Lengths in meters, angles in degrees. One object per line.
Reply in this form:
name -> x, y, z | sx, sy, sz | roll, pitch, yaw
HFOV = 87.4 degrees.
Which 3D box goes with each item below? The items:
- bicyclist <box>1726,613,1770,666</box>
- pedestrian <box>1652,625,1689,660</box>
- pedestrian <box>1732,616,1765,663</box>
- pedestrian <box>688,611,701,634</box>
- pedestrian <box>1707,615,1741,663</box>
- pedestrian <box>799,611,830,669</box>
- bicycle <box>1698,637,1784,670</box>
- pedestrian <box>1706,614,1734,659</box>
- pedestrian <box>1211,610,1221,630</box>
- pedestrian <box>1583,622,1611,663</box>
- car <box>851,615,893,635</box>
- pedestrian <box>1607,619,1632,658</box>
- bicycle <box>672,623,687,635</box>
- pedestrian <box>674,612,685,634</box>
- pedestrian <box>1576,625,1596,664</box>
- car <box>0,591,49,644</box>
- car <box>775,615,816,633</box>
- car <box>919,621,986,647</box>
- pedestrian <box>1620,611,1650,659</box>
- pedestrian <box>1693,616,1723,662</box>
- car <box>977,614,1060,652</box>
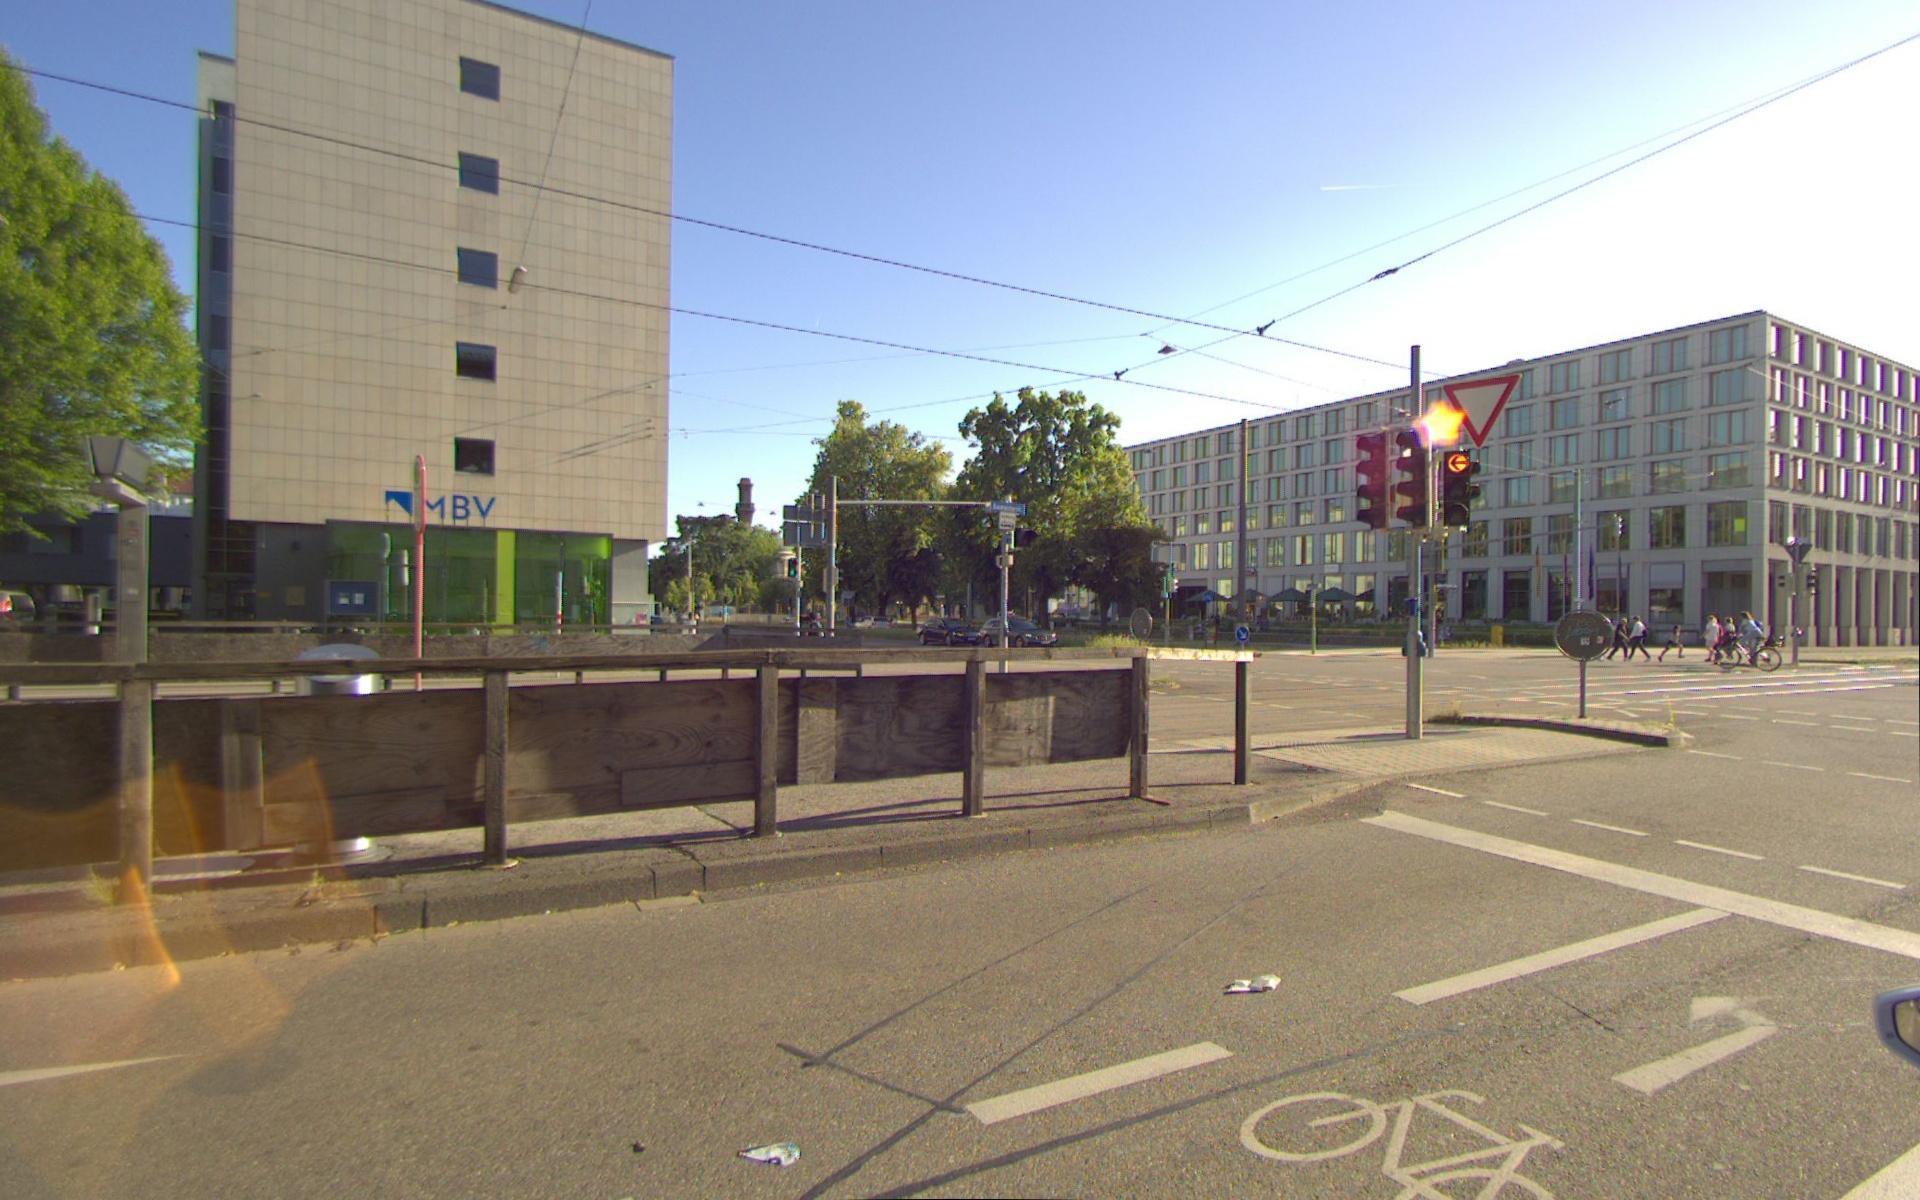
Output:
bicyclist -> 24.346, 1.209, 31.050 | 0.569, 1.581, 0.968 | 1, -1, -36
pedestrian -> 27.476, 1.644, 38.842 | 0.760, 1.335, 0.986 | 1, -1, -39
pedestrian -> 30.703, 1.535, 39.134 | 0.525, 1.827, 0.867 | 1, -1, -24
pedestrian -> -22.160, 1.878, 83.826 | 0.818, 1.829, 0.754 | 1, -1, -31
pedestrian -> 29.552, 1.517, 38.856 | 0.654, 1.827, 0.868 | 1, -1, -24
pedestrian -> -4.425, 1.200, 30.561 | 0.814, 1.739, 0.757 | 1, -1, -18
bicycle -> 24.231, 1.653, 31.198 | 0.569, 0.945, 2.050 | 1, -1, -36
pedestrian -> 30.860, 1.476, 40.786 | 0.525, 1.827, 0.737 | 1, -1, -24
pedestrian -> 21.945, 1.754, 86.105 | 0.556, 1.691, 0.537 | 2, 0, -33
pedestrian -> 26.131, 1.723, 41.229 | 0.615, 1.666, 0.787 | 1, -1, -34
car -> -6.845, 1.898, 78.085 | 1.614, 1.452, 4.021 | 3, -2, -31
pedestrian -> 28.425, 1.639, 43.309 | 0.612, 1.666, 0.692 | 1, -1, -23
bicycle -> -23.106, 2.366, 82.748 | 0.669, 0.973, 2.131 | 1, -1, -32
pedestrian -> -23.112, 1.902, 82.784 | 0.666, 1.739, 0.754 | 1, -1, -32
pedestrian -> 26.921, 1.892, 43.204 | 0.684, 1.666, 0.620 | 0, -1, 29
car -> -27.731, 0.448, 27.760 | 3.371, 1.431, 1.562 | 2, 0, -20
car -> -15.160, 2.168, 92.359 | 1.978, 1.433, 4.710 | 4, -2, -31
car -> -0.428, 1.775, 53.355 | 1.755, 1.311, 4.209 | 1, -1, -30
pedestrian -> 27.454, 1.416, 40.857 | 0.628, 1.943, 0.800 | 1, -1, -24
pedestrian -> 29.926, 1.550, 40.192 | 0.706, 1.827, 0.737 | 1, -1, -24
car -> 2.730, 1.533, 47.850 | 1.829, 1.602, 4.496 | 1, 1, -28
